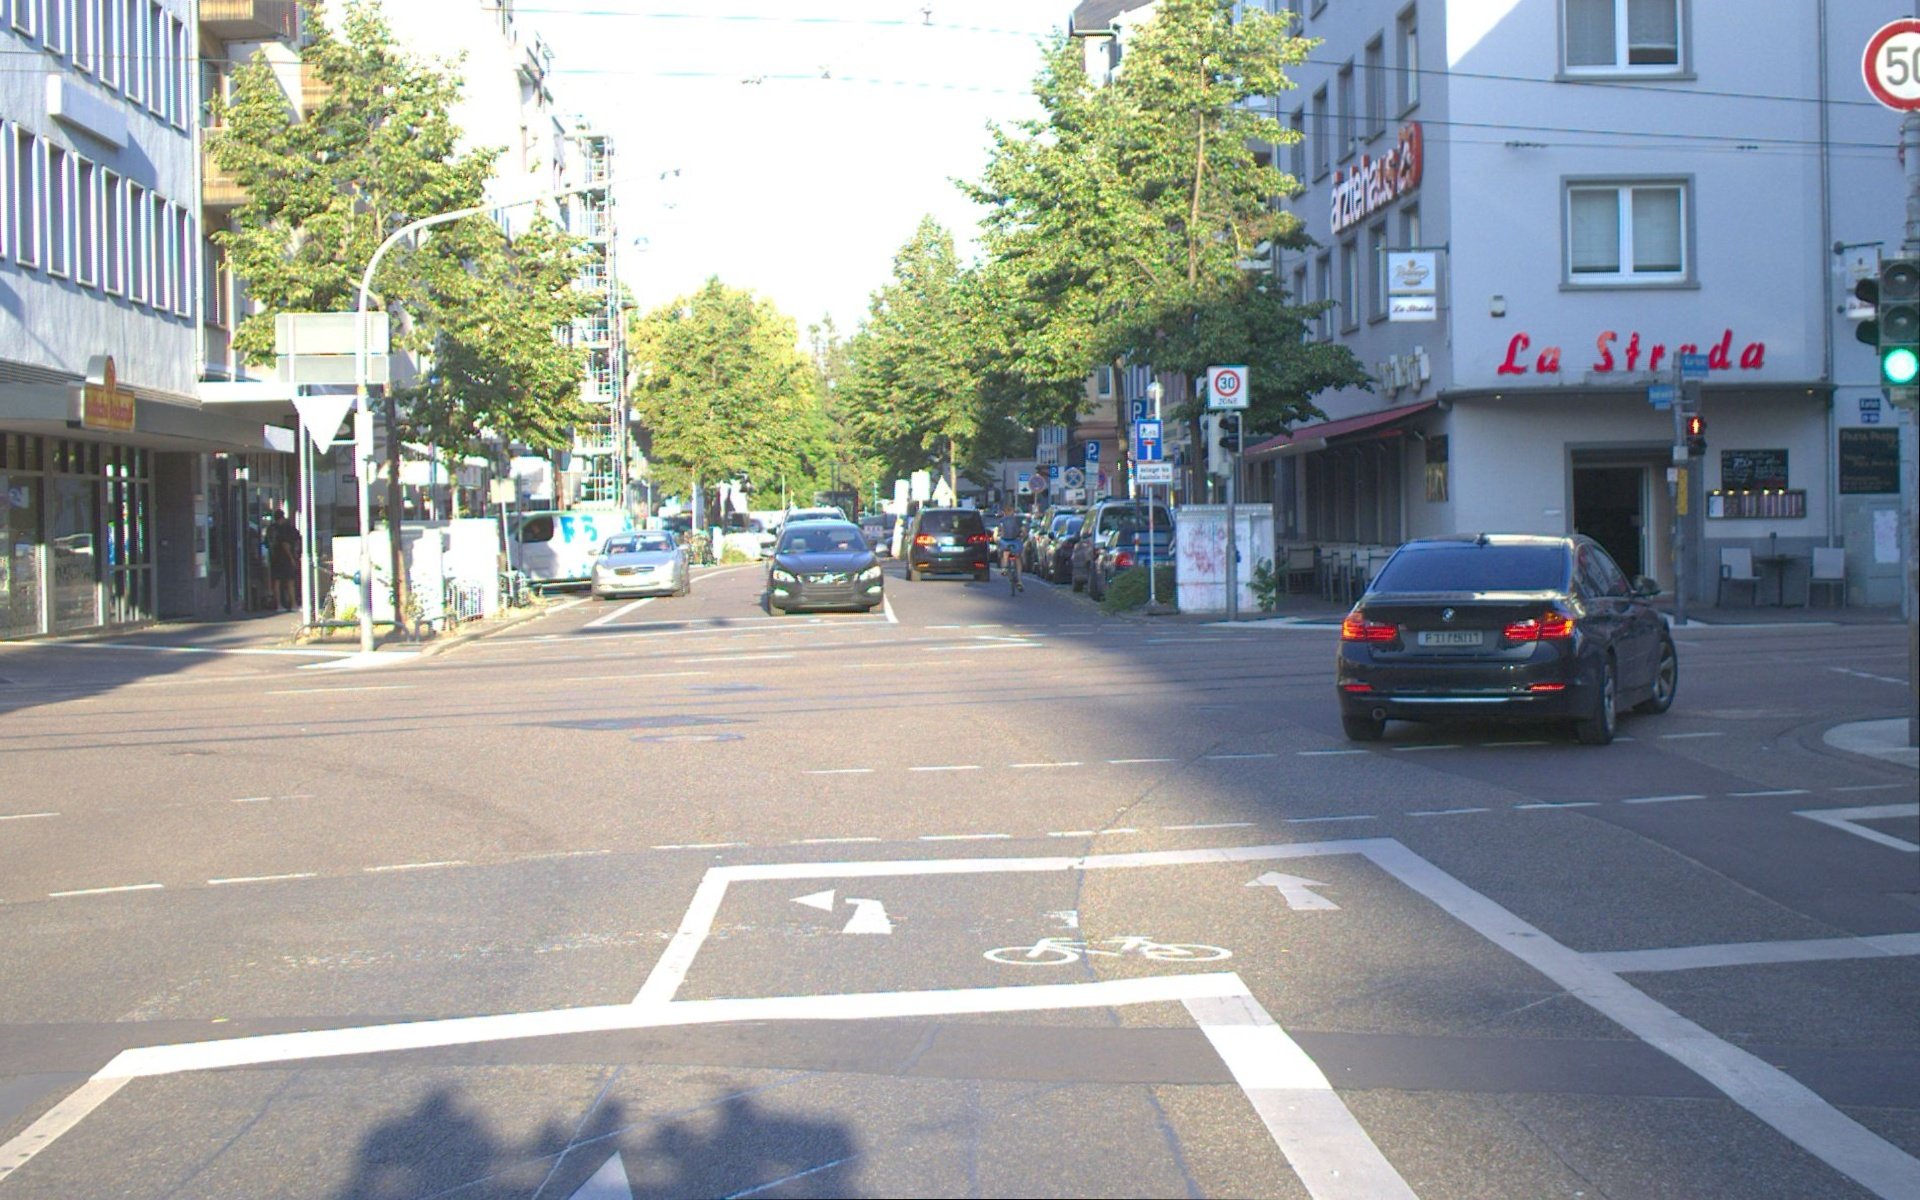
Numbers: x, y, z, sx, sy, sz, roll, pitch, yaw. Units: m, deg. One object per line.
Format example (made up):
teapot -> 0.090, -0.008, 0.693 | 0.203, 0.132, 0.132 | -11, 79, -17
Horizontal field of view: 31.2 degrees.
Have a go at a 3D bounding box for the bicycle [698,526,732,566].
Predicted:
bicycle -> -8.582, -1.882, 120.284 | 0.844, 1.346, 3.188 | -1, 1, -10

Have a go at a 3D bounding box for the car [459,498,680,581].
car -> -8.850, -1.362, 78.183 | 1.998, 1.821, 4.869 | 1, 1, 42

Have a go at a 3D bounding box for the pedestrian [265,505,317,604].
pedestrian -> -12.402, -0.850, 63.728 | 0.740, 1.812, 0.813 | -1, 2, 0

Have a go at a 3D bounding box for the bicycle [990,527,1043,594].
bicycle -> 1.045, -0.741, 64.291 | 0.780, 1.200, 2.021 | -2, 1, -4

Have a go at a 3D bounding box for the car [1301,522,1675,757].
car -> 3.825, 0.198, 24.271 | 1.995, 1.415, 4.506 | 1, 2, 17

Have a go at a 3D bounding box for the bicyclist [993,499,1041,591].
bicyclist -> 1.063, -1.027, 64.376 | 0.780, 1.690, 1.007 | -2, 1, -4

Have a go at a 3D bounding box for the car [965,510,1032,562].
car -> 1.282, -2.122, 115.431 | 1.824, 1.689, 4.369 | 0, 1, -5

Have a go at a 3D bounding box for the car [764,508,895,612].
car -> -2.159, -0.681, 55.881 | 1.958, 1.542, 4.510 | -1, 2, -4

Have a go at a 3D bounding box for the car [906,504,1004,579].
car -> -0.088, -1.276, 76.218 | 1.993, 1.596, 4.509 | 0, 1, 2

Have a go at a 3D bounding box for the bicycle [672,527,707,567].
bicycle -> -9.467, -1.842, 120.126 | 0.892, 1.391, 3.167 | -1, 1, -10

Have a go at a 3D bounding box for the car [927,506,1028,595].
car -> 0.292, -0.912, 64.192 | 1.723, 1.544, 4.465 | -2, 1, -1

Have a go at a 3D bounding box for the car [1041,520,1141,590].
car -> 2.769, -0.977, 73.531 | 1.752, 1.415, 4.510 | 0, 2, -3

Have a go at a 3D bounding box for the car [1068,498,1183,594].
car -> 3.125, -1.054, 65.602 | 1.654, 1.772, 4.012 | 0, 2, -5

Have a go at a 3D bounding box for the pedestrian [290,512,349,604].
pedestrian -> -11.743, -0.769, 63.046 | 0.769, 1.670, 0.741 | 1, 1, 41

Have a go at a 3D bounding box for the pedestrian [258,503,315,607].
pedestrian -> -12.158, -0.816, 62.088 | 0.768, 1.841, 0.743 | 0, 2, 8

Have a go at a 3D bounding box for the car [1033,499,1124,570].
car -> 2.976, -1.635, 87.061 | 1.883, 1.748, 5.059 | 0, 1, -3

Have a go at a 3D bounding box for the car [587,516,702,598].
car -> -6.474, -0.885, 70.987 | 1.993, 1.506, 4.510 | -3, 1, -2
